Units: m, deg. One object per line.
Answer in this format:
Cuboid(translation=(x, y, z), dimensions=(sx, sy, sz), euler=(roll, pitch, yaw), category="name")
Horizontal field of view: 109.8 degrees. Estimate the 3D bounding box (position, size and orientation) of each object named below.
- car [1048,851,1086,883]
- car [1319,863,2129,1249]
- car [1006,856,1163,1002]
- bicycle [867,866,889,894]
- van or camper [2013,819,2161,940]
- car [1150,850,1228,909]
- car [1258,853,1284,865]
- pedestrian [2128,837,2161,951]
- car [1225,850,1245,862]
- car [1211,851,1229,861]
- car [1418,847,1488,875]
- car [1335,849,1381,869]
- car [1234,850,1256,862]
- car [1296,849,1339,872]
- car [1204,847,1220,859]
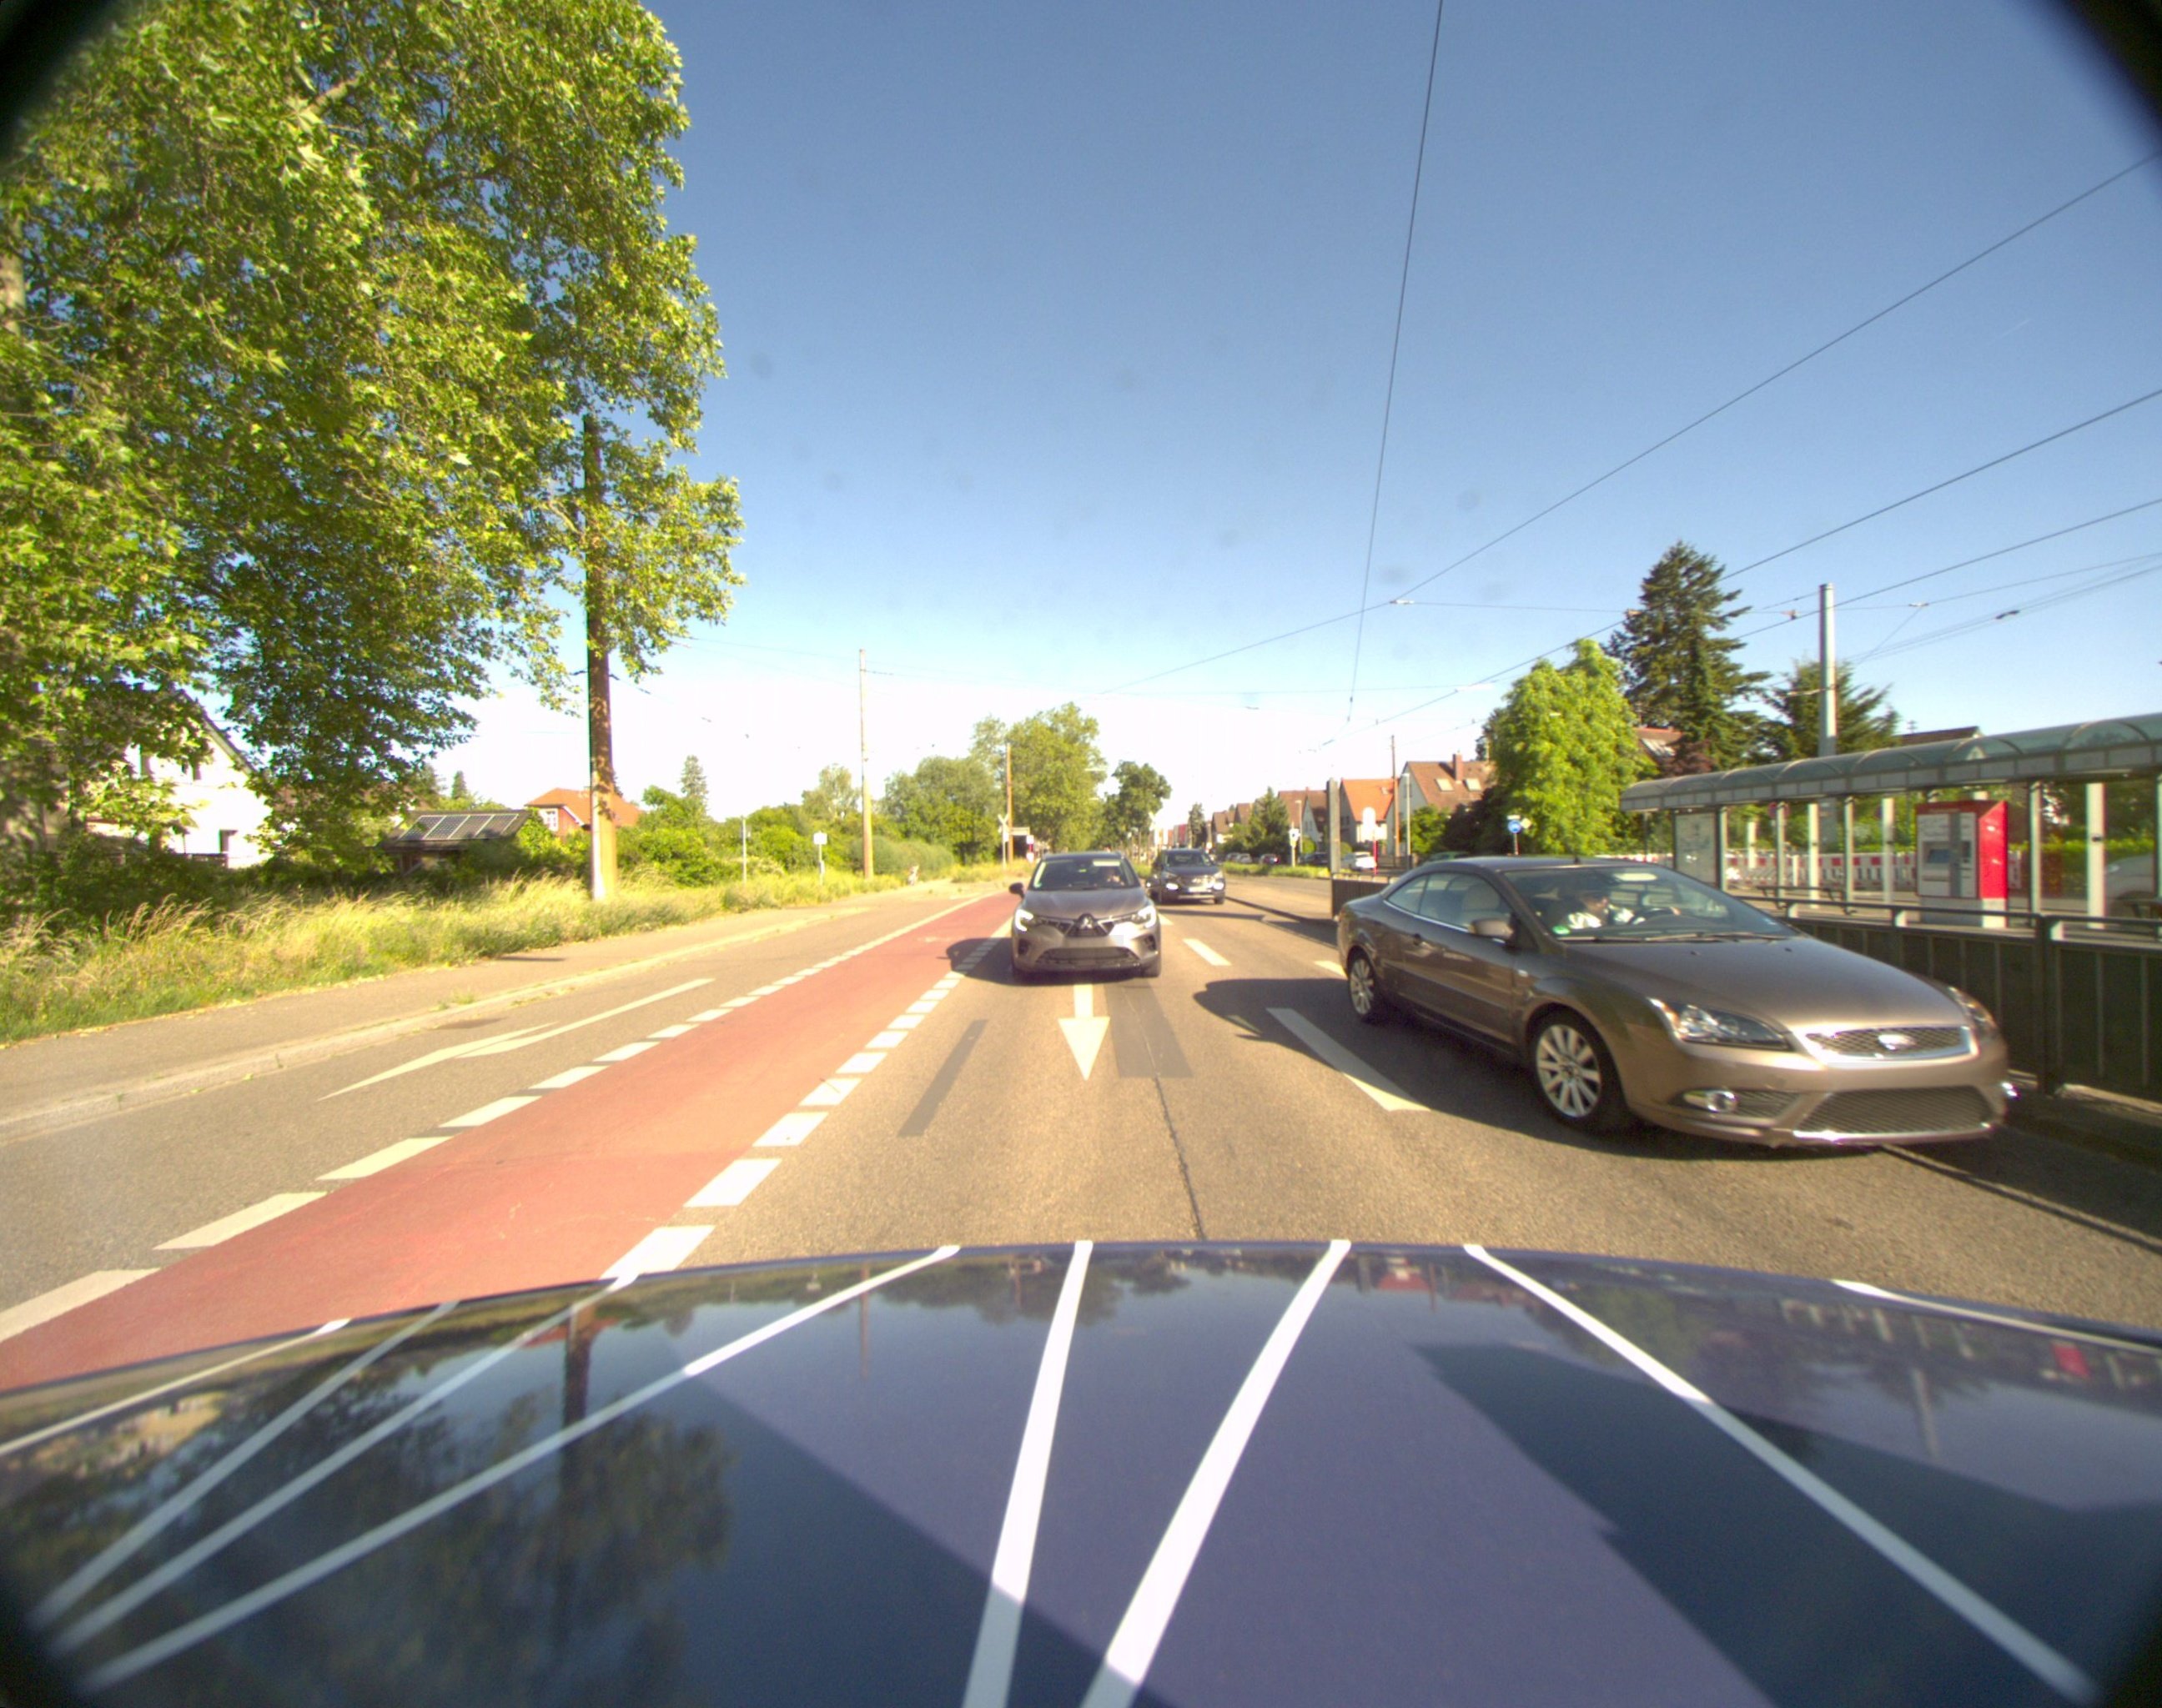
Cuboid(translation=(-0.728, 0.704, 42.625), dimensions=(1.770, 1.621, 4.499), euler=(-2, 0, 3), category="car")
Cuboid(translation=(3.252, 0.824, 5.185), dimensions=(1.780, 1.441, 4.333), euler=(-1, 0, -2), category="car")
Cuboid(translation=(0.024, 0.824, 10.096), dimensions=(1.673, 1.529, 3.586), euler=(-2, 0, -1), category="car")
Cuboid(translation=(-8.333, 1.045, 31.146), dimensions=(0.367, 1.128, 2.091), euler=(-1, 0, -29), category="bicycle")
Cuboid(translation=(17.175, 0.355, 10.153), dimensions=(1.999, 1.817, 5.987), euler=(-1, -1, -1), category="van or camper")
Cuboid(translation=(3.192, 0.711, 23.316), dimensions=(1.780, 1.620, 4.288), euler=(-1, 0, 0), category="car")
Cuboid(translation=(21.982, 0.543, 88.215), dimensions=(1.998, 1.363, 4.310), euler=(-2, 0, 1), category="car")
Cuboid(translation=(14.221, 0.506, 9.421), dimensions=(1.063, 1.444, 1.007), euler=(-1, 1, 0), category="pedestrian")
Cuboid(translation=(21.787, 0.234, 107.408), dimensions=(1.888, 1.552, 4.536), euler=(-3, 0, 0), category="car")
Cuboid(translation=(21.781, 0.321, 119.261), dimensions=(1.998, 1.333, 4.982), euler=(-3, 1, 0), category="car")
Cuboid(translation=(21.870, 0.366, 44.822), dimensions=(1.999, 1.492, 4.067), euler=(-3, 1, -2), category="car")
Cuboid(translation=(21.706, 0.355, 59.748), dimensions=(1.888, 1.464, 4.613), euler=(-3, 1, -1), category="car")
Cuboid(translation=(22.047, 0.308, 102.354), dimensions=(1.888, 1.464, 4.838), euler=(-3, 0, 1), category="car")
Cuboid(translation=(16.856, 0.452, 54.394), dimensions=(1.740, 1.511, 4.344), euler=(-1, 0, 0), category="car")
Cuboid(translation=(22.055, -0.137, 127.956), dimensions=(1.998, 1.852, 4.584), euler=(-2, 0, 1), category="car")
